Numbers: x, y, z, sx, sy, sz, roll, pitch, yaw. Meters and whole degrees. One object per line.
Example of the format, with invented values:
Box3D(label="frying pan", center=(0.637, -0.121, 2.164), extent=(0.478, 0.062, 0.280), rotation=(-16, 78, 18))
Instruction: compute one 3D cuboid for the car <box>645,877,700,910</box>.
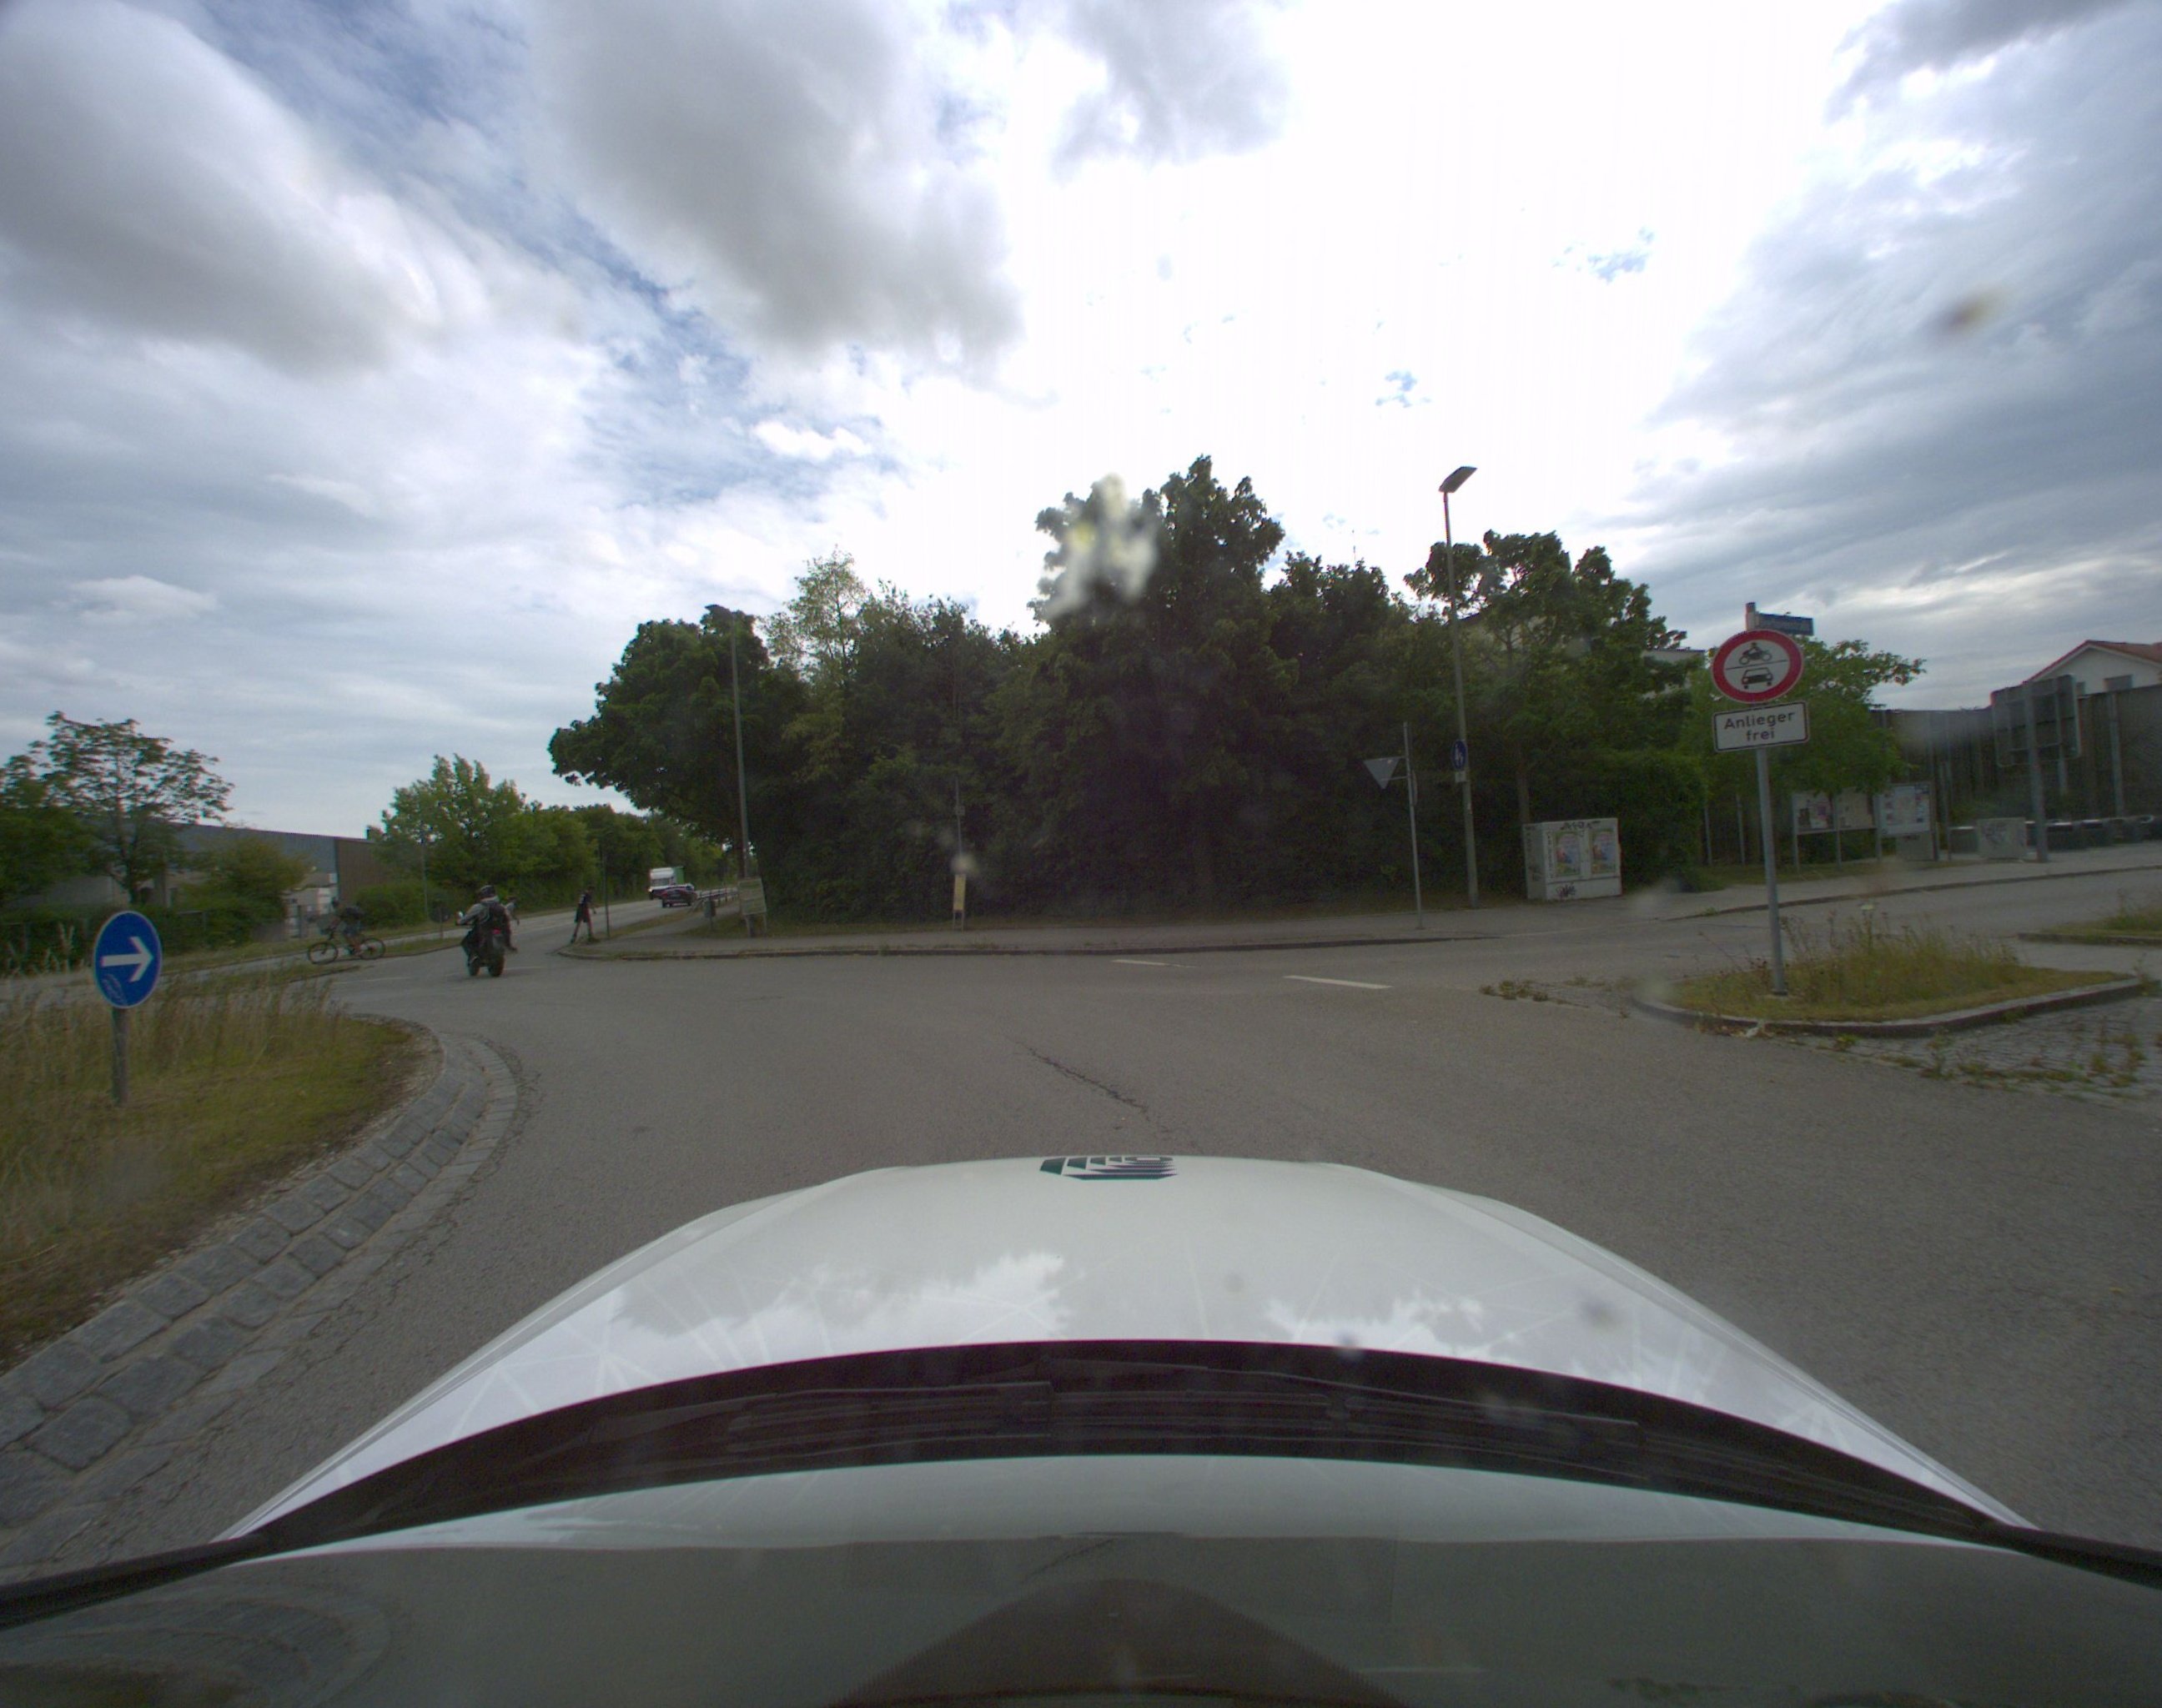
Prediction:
Box3D(label="car", center=(-28.674, 2.700, 57.330), extent=(2.521, 1.947, 5.675), rotation=(-4, 0, -18))

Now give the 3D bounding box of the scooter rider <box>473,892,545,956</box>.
Box3D(label="scooter rider", center=(-16.498, 2.003, 23.502), extent=(1.086, 1.672, 1.253), rotation=(-4, 0, 30))

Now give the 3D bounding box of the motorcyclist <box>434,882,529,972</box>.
Box3D(label="motorcyclist", center=(-11.712, 1.414, 15.938), extent=(1.177, 1.623, 0.868), rotation=(-4, 0, 16))

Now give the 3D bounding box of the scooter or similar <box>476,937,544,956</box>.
Box3D(label="scooter or similar", center=(-16.462, 2.669, 23.491), extent=(1.086, 0.364, 1.236), rotation=(-4, 0, 30))

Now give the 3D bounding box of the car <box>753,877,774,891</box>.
Box3D(label="car", center=(-51.841, 4.833, 132.988), extent=(2.519, 1.947, 5.679), rotation=(-4, 0, -16))

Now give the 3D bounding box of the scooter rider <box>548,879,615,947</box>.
Box3D(label="scooter rider", center=(-15.362, 1.811, 25.071), extent=(1.210, 1.909, 1.135), rotation=(-5, 1, 27))

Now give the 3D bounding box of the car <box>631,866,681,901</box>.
Box3D(label="car", center=(-44.297, 3.032, 85.132), extent=(3.179, 3.204, 7.587), rotation=(-4, 0, -17))

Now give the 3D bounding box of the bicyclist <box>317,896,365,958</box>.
Box3D(label="bicyclist", center=(-21.460, 2.093, 23.637), extent=(0.923, 1.723, 0.652), rotation=(-1, -1, -35))

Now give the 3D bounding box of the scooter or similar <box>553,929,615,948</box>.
Box3D(label="scooter or similar", center=(-15.292, 2.589, 25.073), extent=(1.210, 0.380, 1.135), rotation=(-5, 1, 27))

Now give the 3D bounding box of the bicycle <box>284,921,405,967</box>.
Box3D(label="bicycle", center=(-21.359, 2.583, 23.695), extent=(2.517, 1.089, 0.762), rotation=(-2, -1, -35))

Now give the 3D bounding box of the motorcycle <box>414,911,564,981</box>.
Box3D(label="motorcycle", center=(-11.550, 1.792, 15.901), extent=(2.592, 1.158, 0.903), rotation=(-4, 0, 16))

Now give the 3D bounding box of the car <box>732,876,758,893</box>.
Box3D(label="car", center=(-45.478, 4.085, 110.301), extent=(2.519, 1.947, 5.679), rotation=(-4, 0, -16))
